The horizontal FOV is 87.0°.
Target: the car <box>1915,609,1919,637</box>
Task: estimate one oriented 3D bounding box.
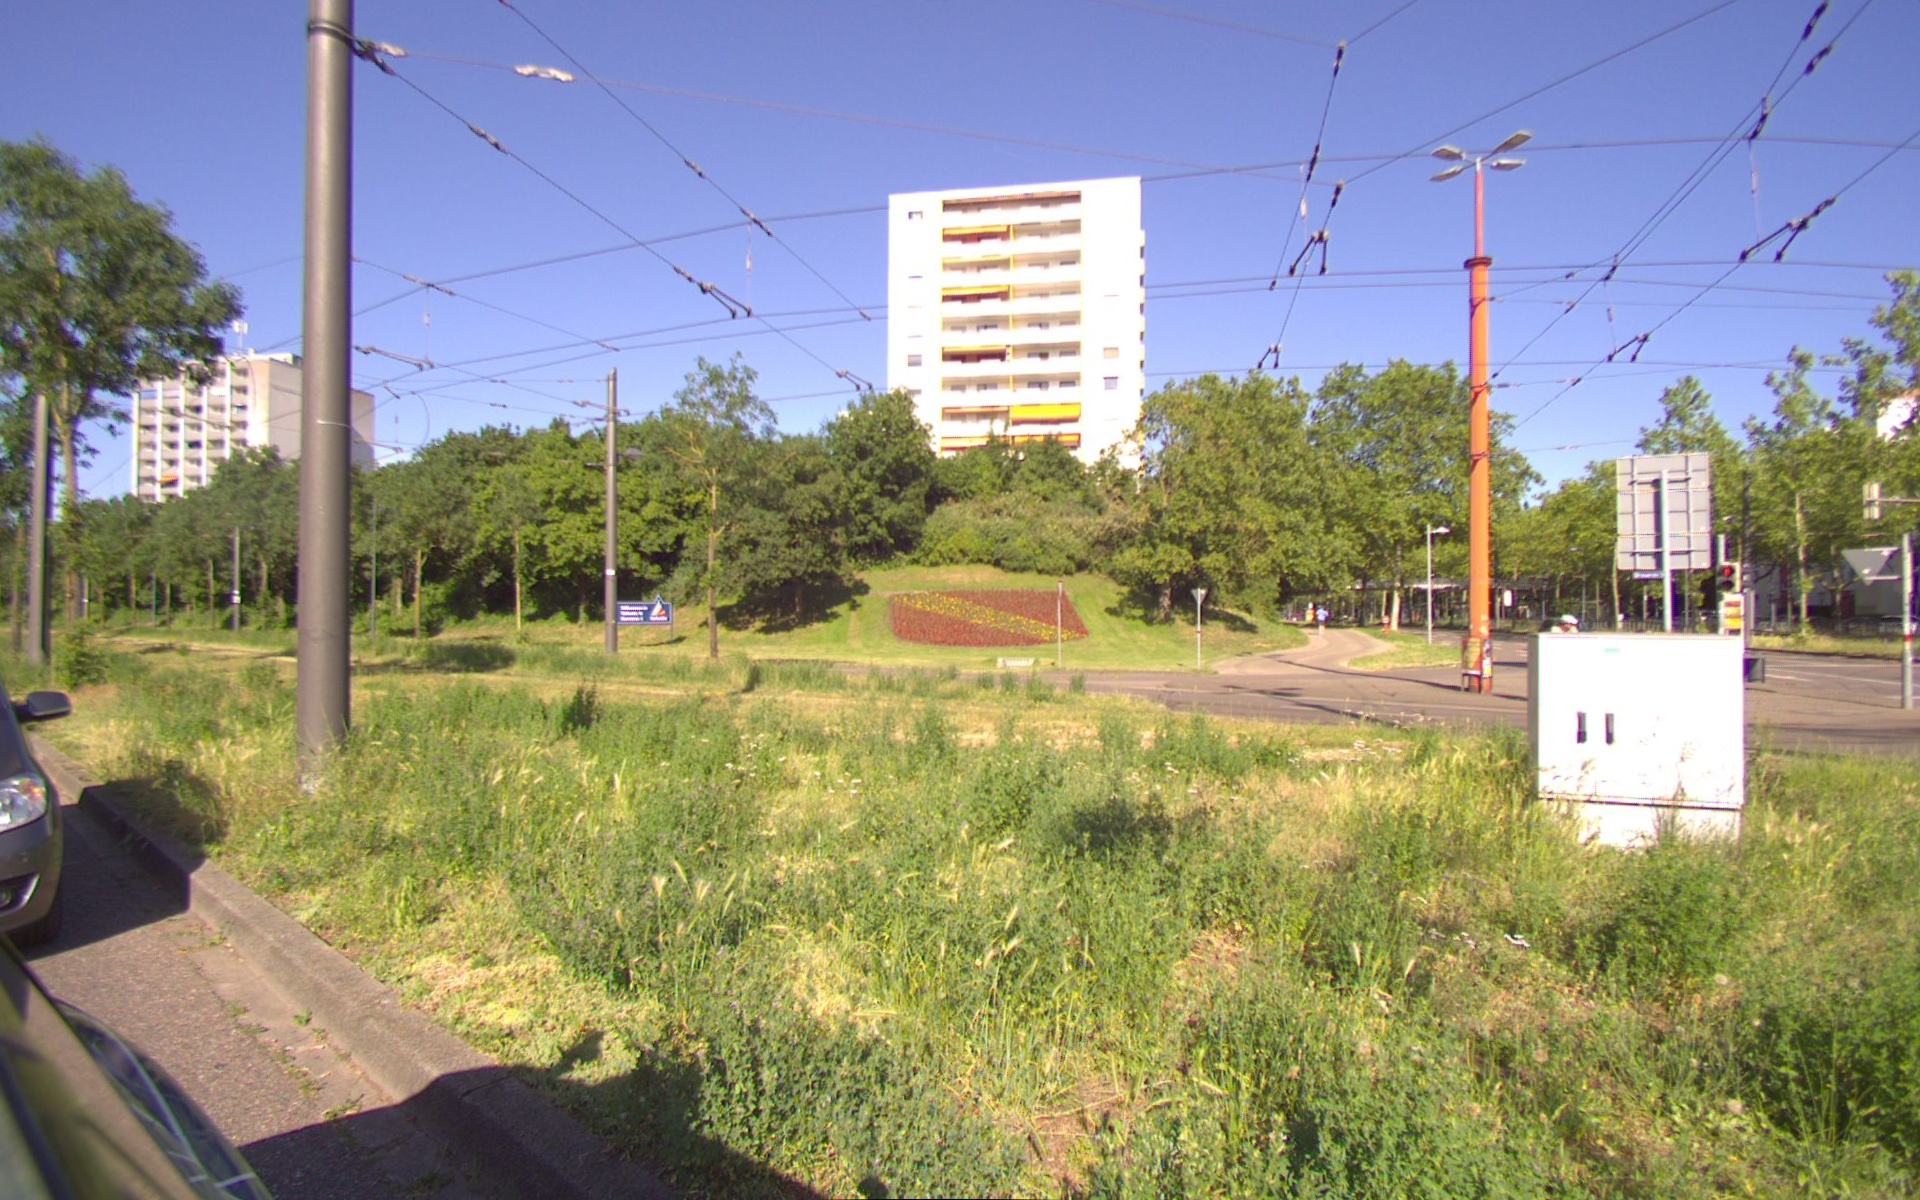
[{"bbox_3d":[64.399,1.504,65.904,3.931,1.829,2.006,1,-2,-27],"label":"car"}]

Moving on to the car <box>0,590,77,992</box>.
[{"bbox_3d":[-5.944,0.795,5.039,4.382,1.619,1.754,-1,-2,41],"label":"car"}]

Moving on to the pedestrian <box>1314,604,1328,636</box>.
[{"bbox_3d":[21.833,1.212,61.214,0.729,1.949,0.726,-1,-2,24],"label":"pedestrian"}]

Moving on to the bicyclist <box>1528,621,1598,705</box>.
[{"bbox_3d":[12.091,1.255,20.299,0.920,1.650,0.741,0,-1,-1],"label":"bicyclist"}]

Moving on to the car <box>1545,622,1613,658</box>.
[{"bbox_3d":[29.165,1.843,47.823,1.928,1.606,3.882,-1,-1,20],"label":"car"}]

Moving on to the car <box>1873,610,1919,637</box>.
[{"bbox_3d":[65.241,1.641,69.867,3.931,1.829,2.006,1,-2,-27],"label":"car"}]

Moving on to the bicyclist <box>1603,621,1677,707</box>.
[{"bbox_3d":[13.349,1.238,19.881,0.920,1.650,0.741,0,-1,-1],"label":"bicyclist"}]

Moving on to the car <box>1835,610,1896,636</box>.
[{"bbox_3d":[66.008,1.697,73.763,3.931,1.829,2.006,1,-2,-27],"label":"car"}]

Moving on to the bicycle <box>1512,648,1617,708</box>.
[{"bbox_3d":[12.087,1.533,20.316,0.915,1.095,1.888,0,-1,-2],"label":"bicycle"}]

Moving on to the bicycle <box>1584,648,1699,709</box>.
[{"bbox_3d":[13.352,1.518,19.914,0.915,1.095,1.888,0,-1,-2],"label":"bicycle"}]
